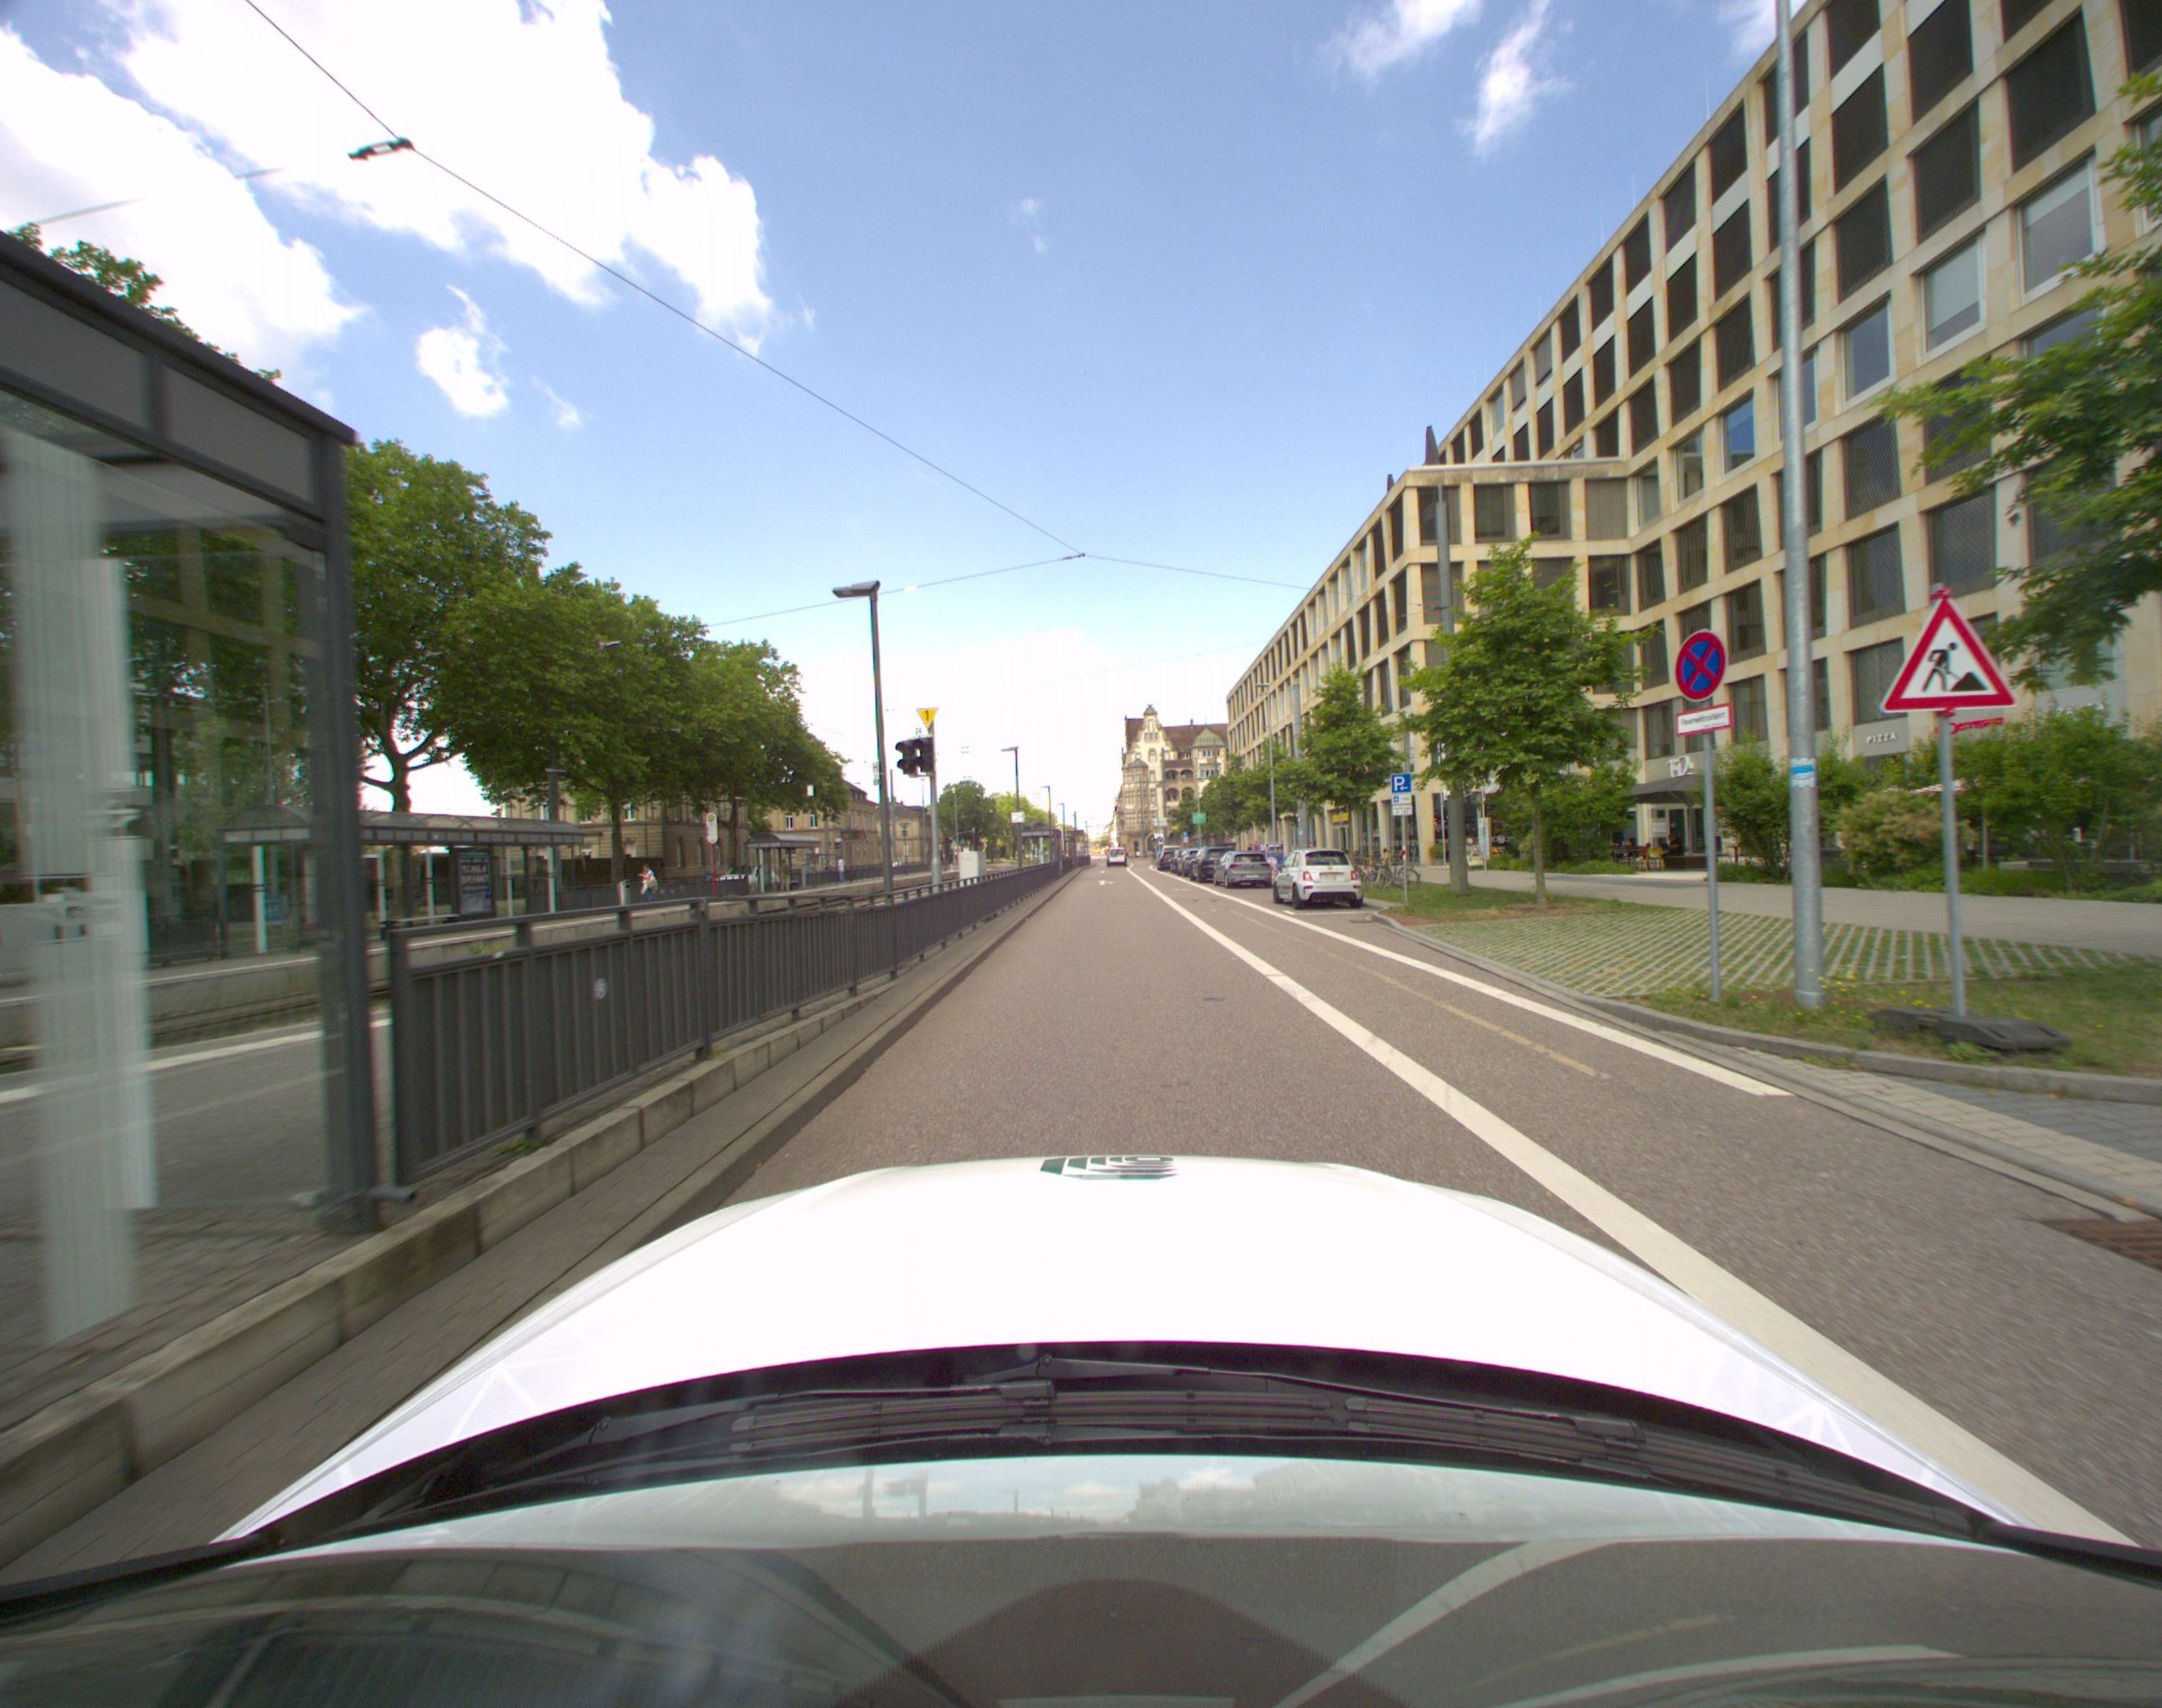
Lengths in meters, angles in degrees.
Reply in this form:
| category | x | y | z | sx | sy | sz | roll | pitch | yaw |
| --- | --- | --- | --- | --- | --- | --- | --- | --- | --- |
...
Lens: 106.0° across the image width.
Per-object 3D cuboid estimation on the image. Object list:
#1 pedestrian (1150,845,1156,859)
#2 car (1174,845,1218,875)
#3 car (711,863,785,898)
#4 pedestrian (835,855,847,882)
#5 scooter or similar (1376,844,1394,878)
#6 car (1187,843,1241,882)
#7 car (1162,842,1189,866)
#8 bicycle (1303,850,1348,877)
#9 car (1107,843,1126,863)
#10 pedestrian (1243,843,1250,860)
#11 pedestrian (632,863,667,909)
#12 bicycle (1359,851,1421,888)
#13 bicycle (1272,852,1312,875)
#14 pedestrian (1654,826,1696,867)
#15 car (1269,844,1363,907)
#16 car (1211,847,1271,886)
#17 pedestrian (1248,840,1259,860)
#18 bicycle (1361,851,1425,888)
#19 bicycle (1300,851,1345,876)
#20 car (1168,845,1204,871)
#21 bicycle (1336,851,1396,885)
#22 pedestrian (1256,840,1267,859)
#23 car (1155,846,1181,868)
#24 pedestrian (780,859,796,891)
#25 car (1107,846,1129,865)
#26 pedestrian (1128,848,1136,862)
| category | x | y | z | sx | sy | sz | roll | pitch | yaw |
| --- | --- | --- | --- | --- | --- | --- | --- | --- | --- |
| pedestrian | 8.498 | -0.273 | 95.908 | 0.532 | 1.572 | 0.542 | -4 | 0 | 0 |
| car | 6.508 | 0.297 | 46.428 | 1.801 | 1.591 | 4.840 | -1 | 0 | 0 |
| car | -18.430 | 1.423 | 45.355 | 1.986 | 1.705 | 4.822 | -3 | 0 | 1 |
| pedestrian | -15.421 | 0.924 | 52.328 | 0.498 | 1.683 | 0.643 | -3 | 0 | 2 |
| scooter or similar | 11.295 | 0.263 | 30.263 | 0.257 | 1.215 | 1.015 | -3 | 0 | 1 |
| car | 6.159 | 0.358 | 38.239 | 1.732 | 1.669 | 4.840 | -1 | 0 | 0 |
| car | 7.369 | 0.000 | 63.976 | 1.704 | 1.796 | 3.361 | -1 | 0 | 0 |
| bicycle | 10.209 | 0.396 | 34.034 | 1.746 | 0.986 | 0.326 | -3 | 0 | 0 |
| car | 3.608 | -0.091 | 84.086 | 1.862 | 2.020 | 4.001 | -1 | 0 | 1 |
| pedestrian | 14.356 | -0.210 | 70.693 | 0.437 | 1.448 | 0.434 | -3 | 0 | 1 |
| pedestrian | -14.841 | 1.099 | 28.023 | 0.700 | 1.512 | 0.802 | -3 | 0 | -2 |
| bicycle | 9.827 | 0.497 | 25.907 | 1.815 | 1.076 | 0.275 | -3 | 0 | 5 |
| bicycle | 10.348 | 0.449 | 39.892 | 1.815 | 1.030 | 0.433 | -3 | 0 | 4 |
| pedestrian | 21.094 | -0.272 | 28.921 | 0.772 | 1.362 | 0.868 | -4 | 0 | 1 |
| car | 6.058 | 0.500 | 21.382 | 1.585 | 1.460 | 3.616 | -1 | 1 | 3 |
| car | 6.328 | 0.462 | 32.540 | 1.586 | 1.434 | 4.106 | -1 | 0 | 0 |
| pedestrian | 14.952 | -0.378 | 70.788 | 0.757 | 1.723 | 0.659 | -3 | 0 | 1 |
| bicycle | 9.796 | 0.486 | 25.604 | 1.815 | 1.076 | 0.275 | -3 | 0 | 5 |
| bicycle | 10.183 | 0.397 | 34.376 | 1.746 | 0.986 | 0.326 | -3 | 0 | 0 |
| car | 6.810 | 0.254 | 53.149 | 1.800 | 1.591 | 4.306 | -1 | 0 | 1 |
| bicycle | 9.843 | 0.486 | 28.140 | 1.815 | 1.076 | 0.687 | -3 | 0 | 5 |
| pedestrian | 15.715 | -0.390 | 70.787 | 0.757 | 1.670 | 0.659 | -3 | 0 | 1 |
| car | 6.319 | 0.189 | 59.158 | 1.438 | 1.470 | 4.092 | -1 | 0 | 0 |
| pedestrian | -14.858 | 1.069 | 41.313 | 0.498 | 1.558 | 0.643 | -3 | 0 | 2 |
| car | 3.475 | 0.147 | 77.100 | 1.862 | 1.746 | 4.001 | -1 | 0 | 1 |
| pedestrian | 5.864 | 0.135 | 94.376 | 0.803 | 1.572 | 0.629 | -4 | 0 | 0 |
